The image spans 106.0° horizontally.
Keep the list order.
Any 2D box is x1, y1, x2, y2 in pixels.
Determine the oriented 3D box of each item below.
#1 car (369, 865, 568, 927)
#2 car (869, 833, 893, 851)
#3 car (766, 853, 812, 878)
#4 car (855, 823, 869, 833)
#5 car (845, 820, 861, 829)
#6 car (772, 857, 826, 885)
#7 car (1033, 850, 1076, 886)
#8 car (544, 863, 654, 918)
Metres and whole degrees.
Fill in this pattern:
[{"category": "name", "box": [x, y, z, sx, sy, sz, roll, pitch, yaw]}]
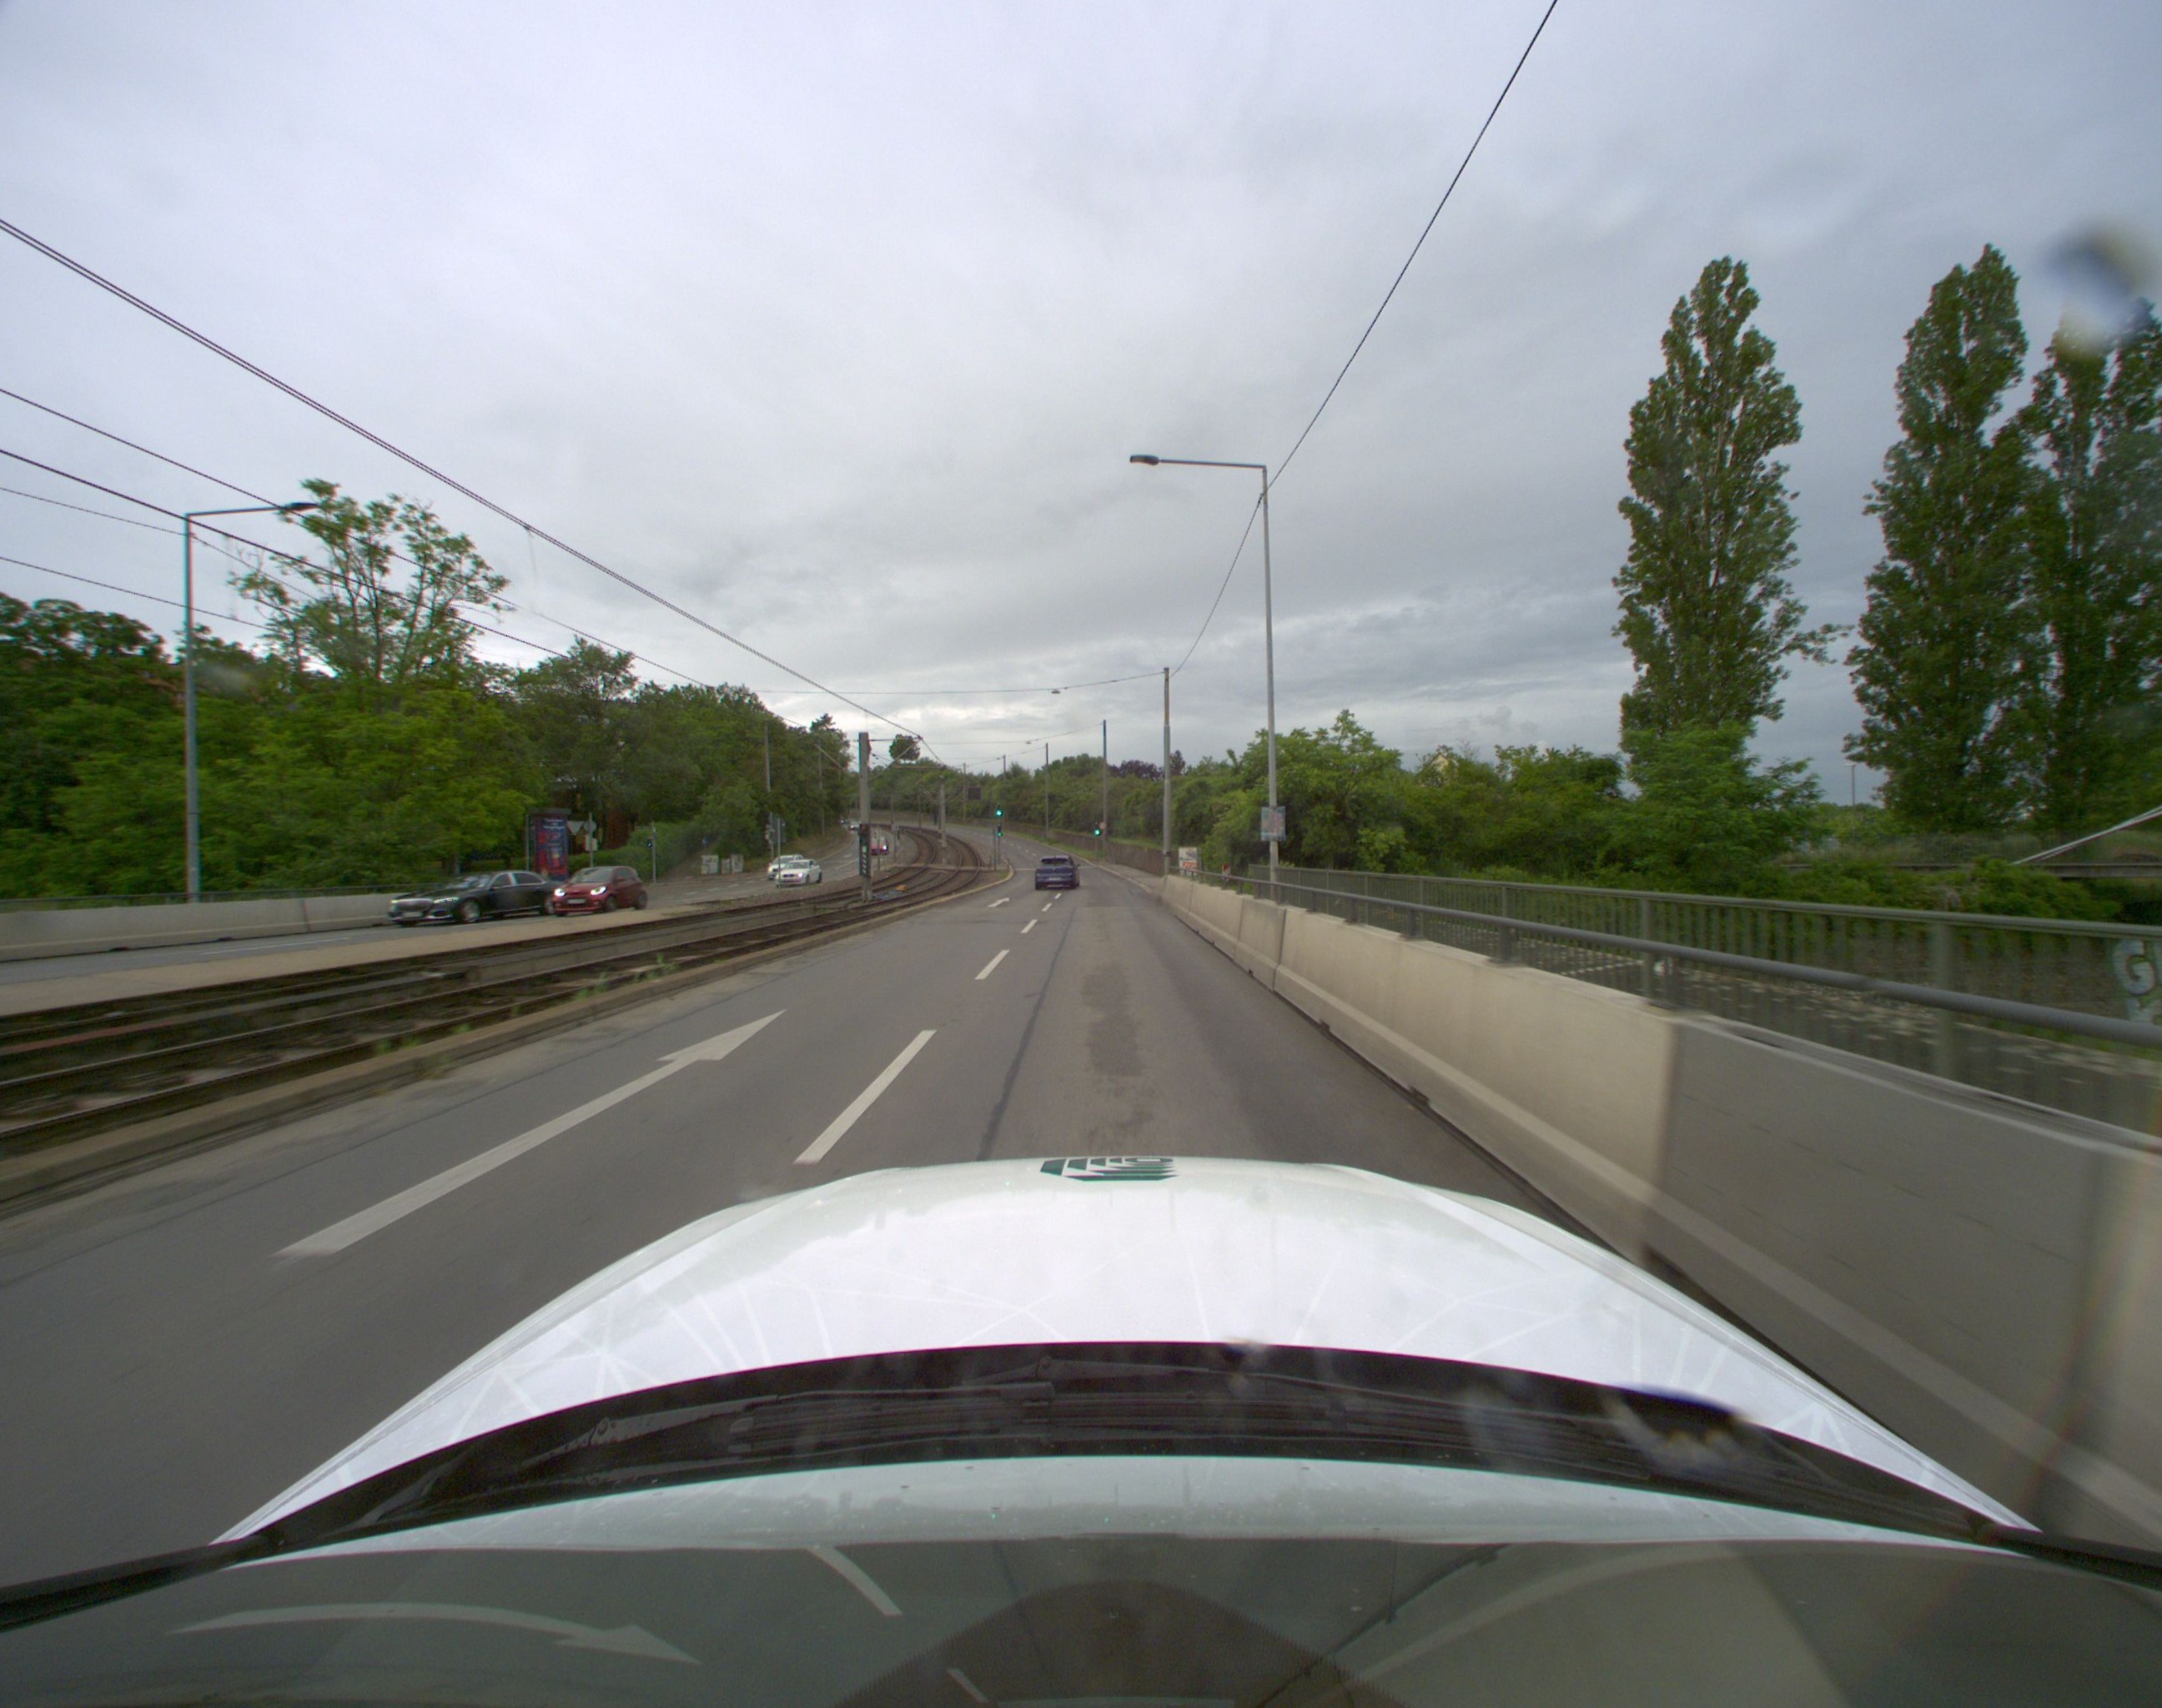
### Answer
[{"category": "car", "box": [-18.094, 1.174, 24.477, 1.962, 1.597, 5.185, -2, -1, 1]}, {"category": "car", "box": [-19.649, -1.156, 80.152, 1.847, 1.597, 4.717, -2, 1, -9]}, {"category": "car", "box": [-19.472, 0.756, 54.522, 1.818, 1.515, 4.520, -1, 0, -6]}, {"category": "car", "box": [-33.504, -3.978, 124.579, 1.722, 1.458, 4.247, -3, 3, -20]}, {"category": "car", "box": [-40.469, -5.226, 144.491, 1.829, 1.379, 4.666, -4, 4, -26]}, {"category": "car", "box": [-15.778, 0.963, 45.851, 1.727, 1.437, 4.485, -2, -1, -4]}, {"category": "car", "box": [-1.127, 0.613, 36.152, 1.757, 1.501, 4.000, 0, 0, 0]}, {"category": "car", "box": [-15.176, 1.117, 25.813, 1.595, 1.493, 3.018, -2, 1, 1]}]
